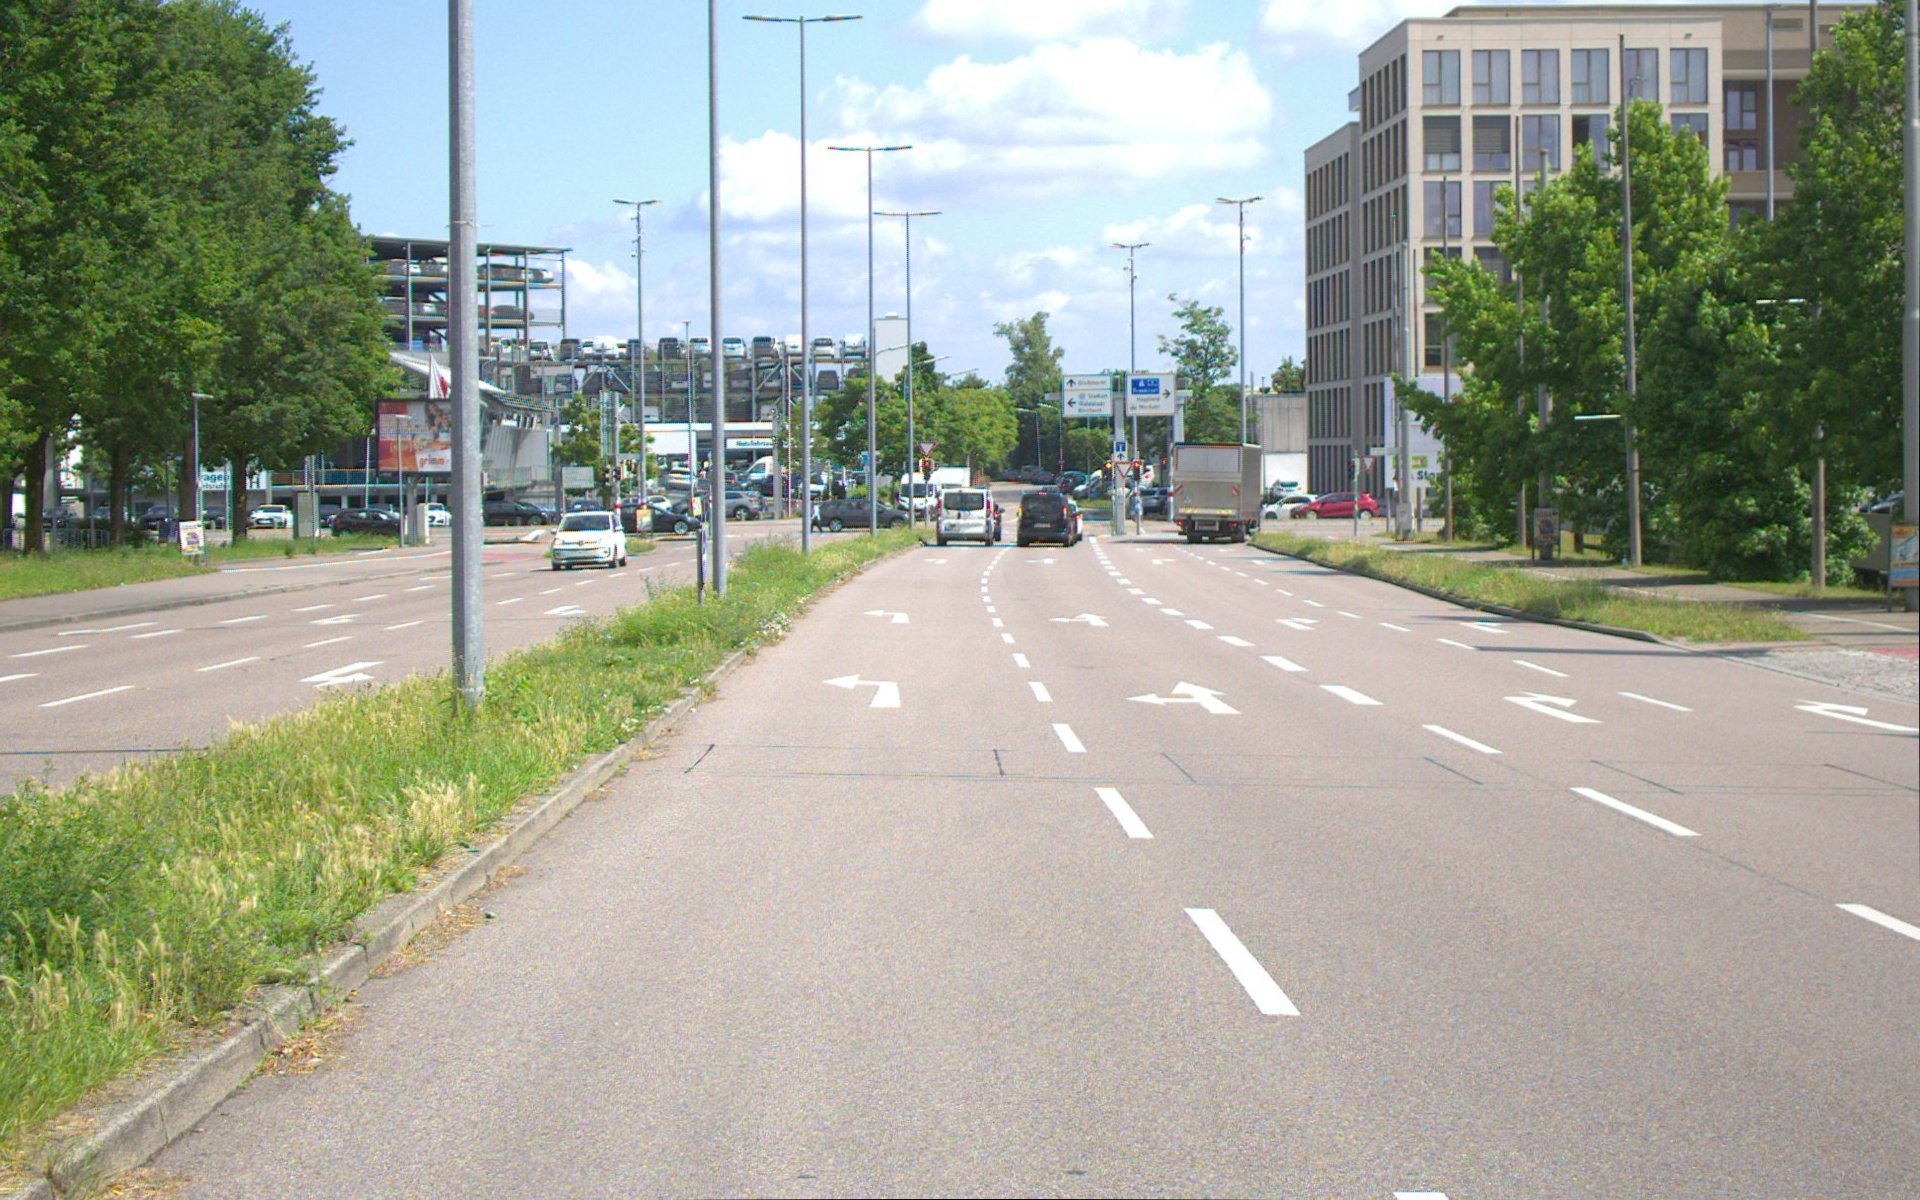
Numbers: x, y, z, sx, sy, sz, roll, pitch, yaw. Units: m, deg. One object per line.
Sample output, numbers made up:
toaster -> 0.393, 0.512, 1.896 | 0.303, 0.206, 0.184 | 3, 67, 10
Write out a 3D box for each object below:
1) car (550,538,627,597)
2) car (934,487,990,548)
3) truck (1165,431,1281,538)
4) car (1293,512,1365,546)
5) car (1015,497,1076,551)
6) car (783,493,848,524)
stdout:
car -> -9.545, -0.862, 88.600 | 1.643, 1.424, 3.671 | -2, 1, -2
car -> 0.051, -2.828, 117.215 | 1.856, 2.011, 4.001 | 0, 2, 0
truck -> 10.143, -4.462, 131.661 | 3.131, 3.927, 8.854 | 1, 2, 13
car -> 17.870, -3.446, 166.546 | 3.272, 1.400, 1.334 | 0, 11, 0
car -> 2.949, -2.628, 117.834 | 1.820, 1.802, 4.000 | 1, 2, 5
car -> -8.973, -5.688, 213.189 | 3.986, 1.919, 1.827 | 0, 1, -4
